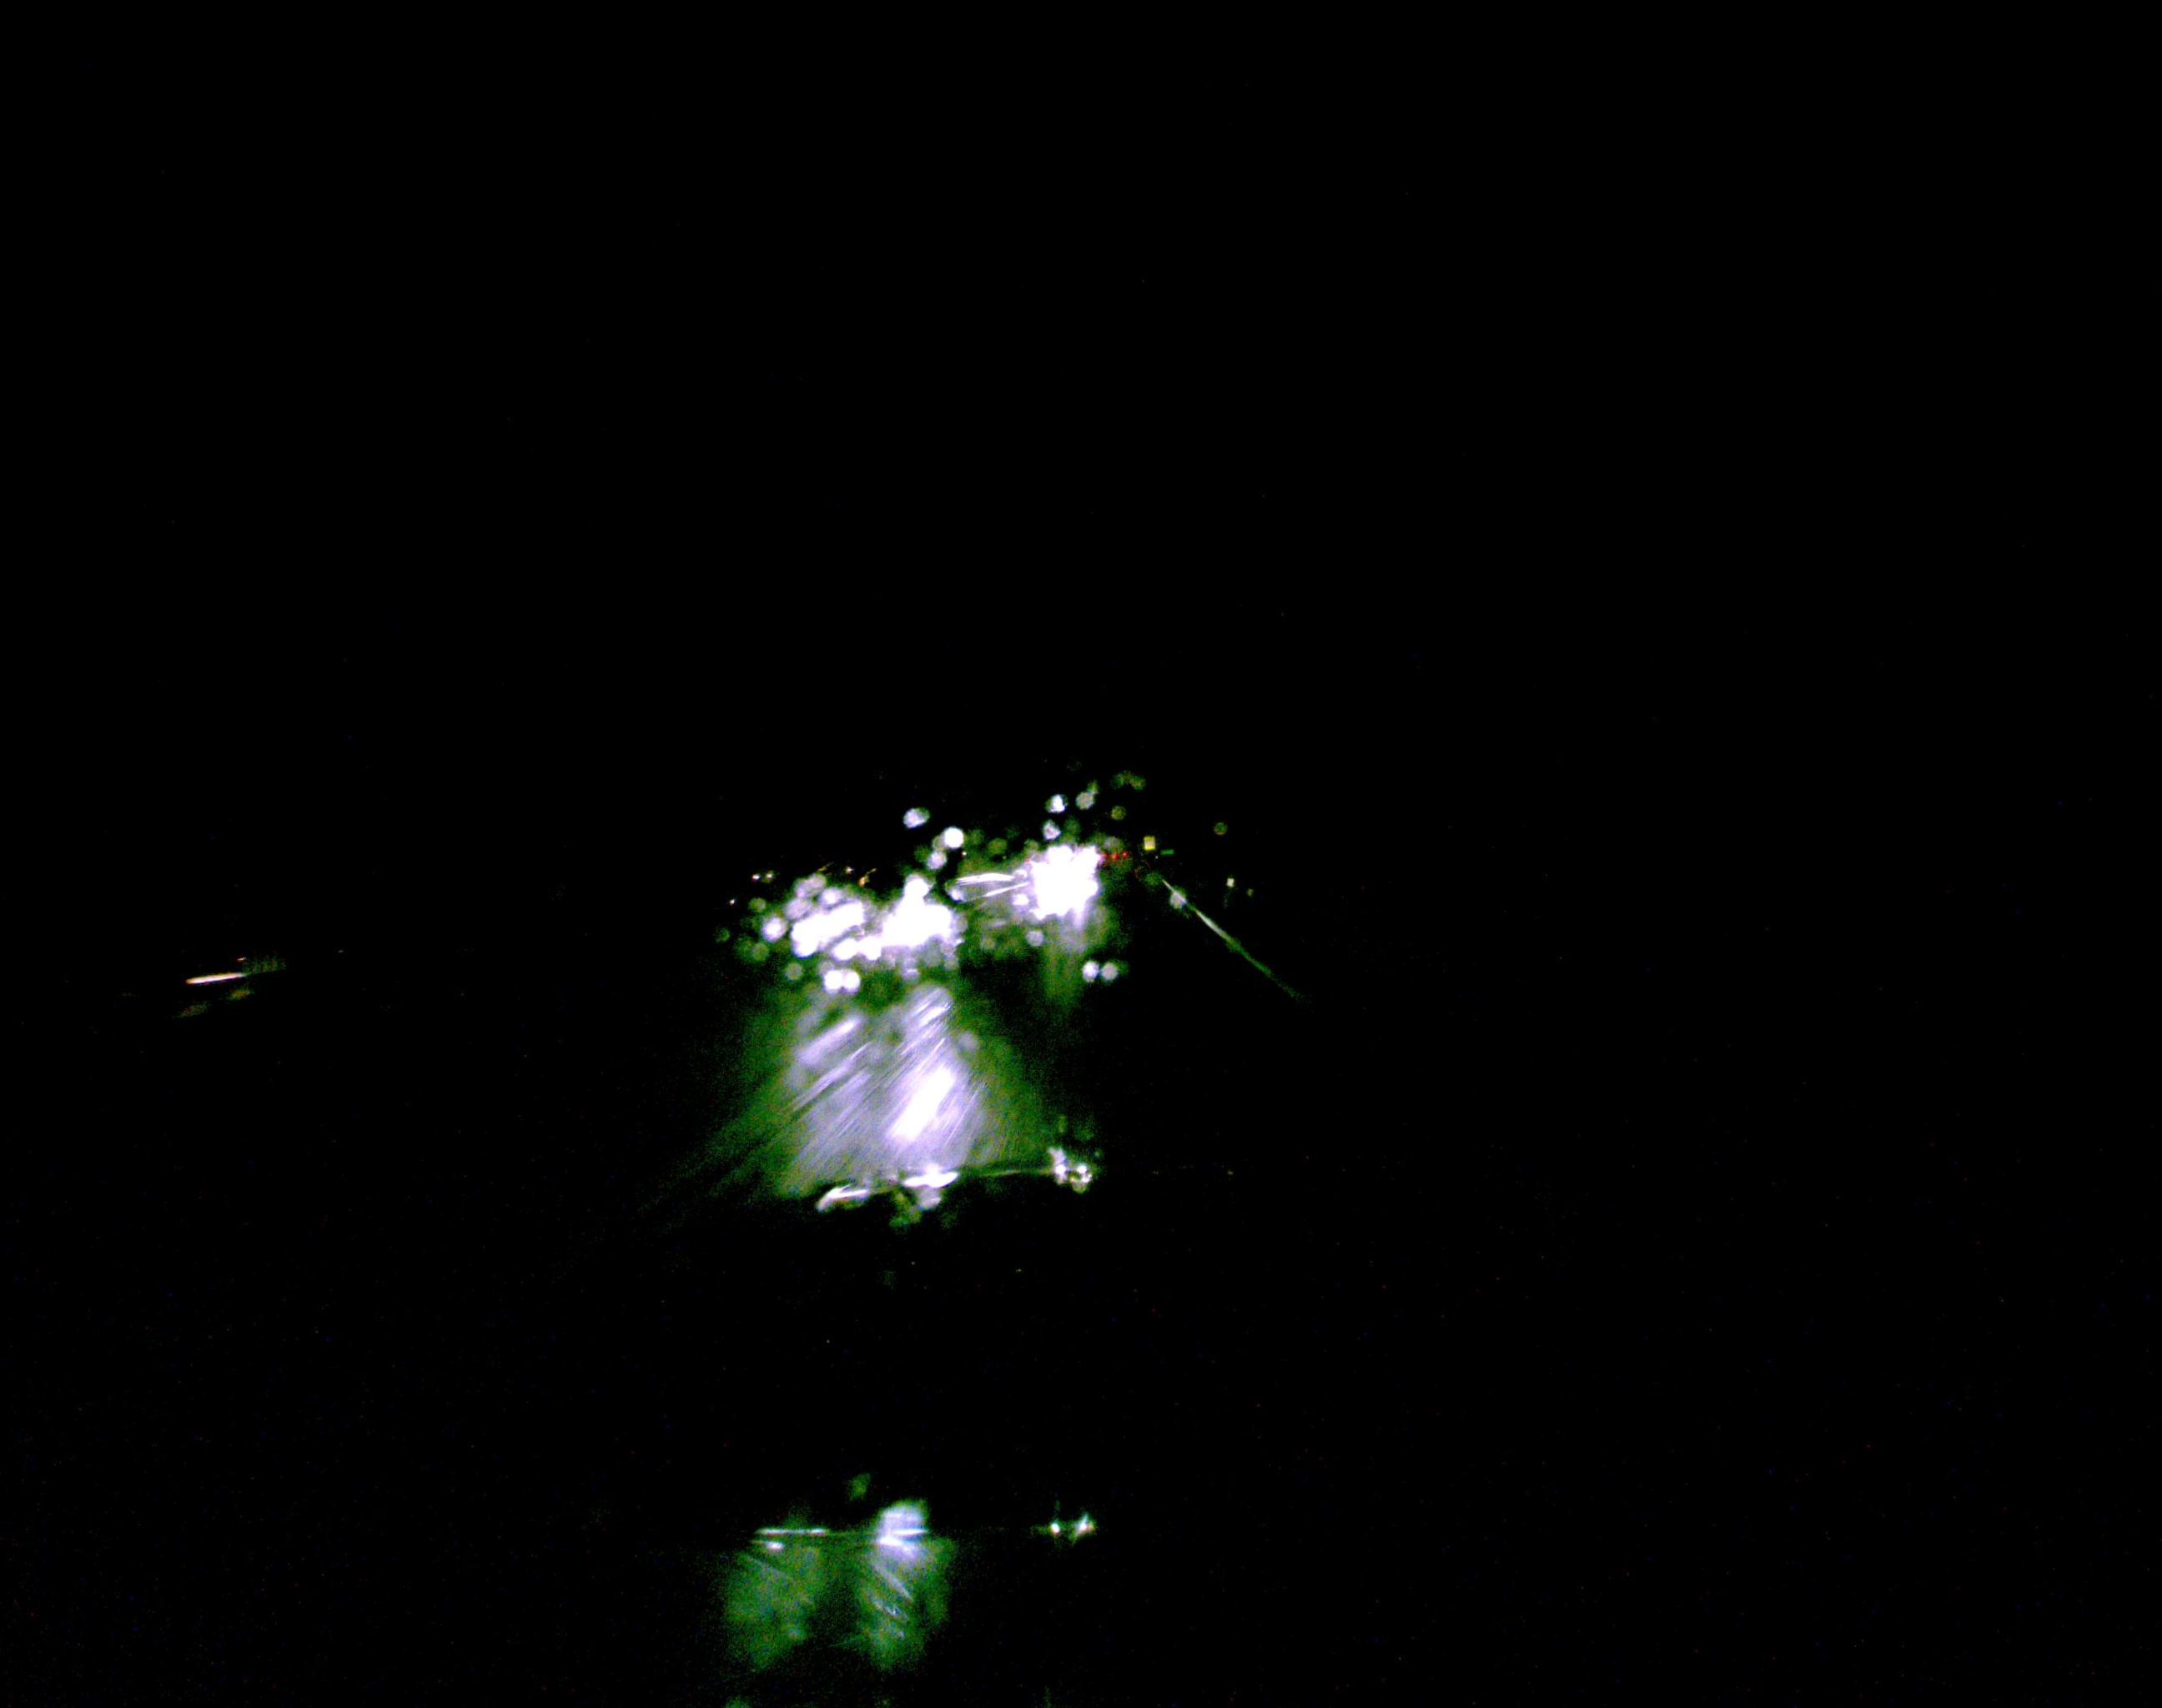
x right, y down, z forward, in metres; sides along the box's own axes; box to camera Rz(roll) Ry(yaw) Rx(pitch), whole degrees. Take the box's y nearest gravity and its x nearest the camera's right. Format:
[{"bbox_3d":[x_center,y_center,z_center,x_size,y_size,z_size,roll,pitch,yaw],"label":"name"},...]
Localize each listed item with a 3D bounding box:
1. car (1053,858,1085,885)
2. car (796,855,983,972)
[{"bbox_3d":[-0.749,1.109,53.756,1.773,1.667,4.476,-2,0,3],"label":"car"},{"bbox_3d":[-2.634,0.753,12.165,1.733,1.402,3.862,-2,0,2],"label":"car"}]
